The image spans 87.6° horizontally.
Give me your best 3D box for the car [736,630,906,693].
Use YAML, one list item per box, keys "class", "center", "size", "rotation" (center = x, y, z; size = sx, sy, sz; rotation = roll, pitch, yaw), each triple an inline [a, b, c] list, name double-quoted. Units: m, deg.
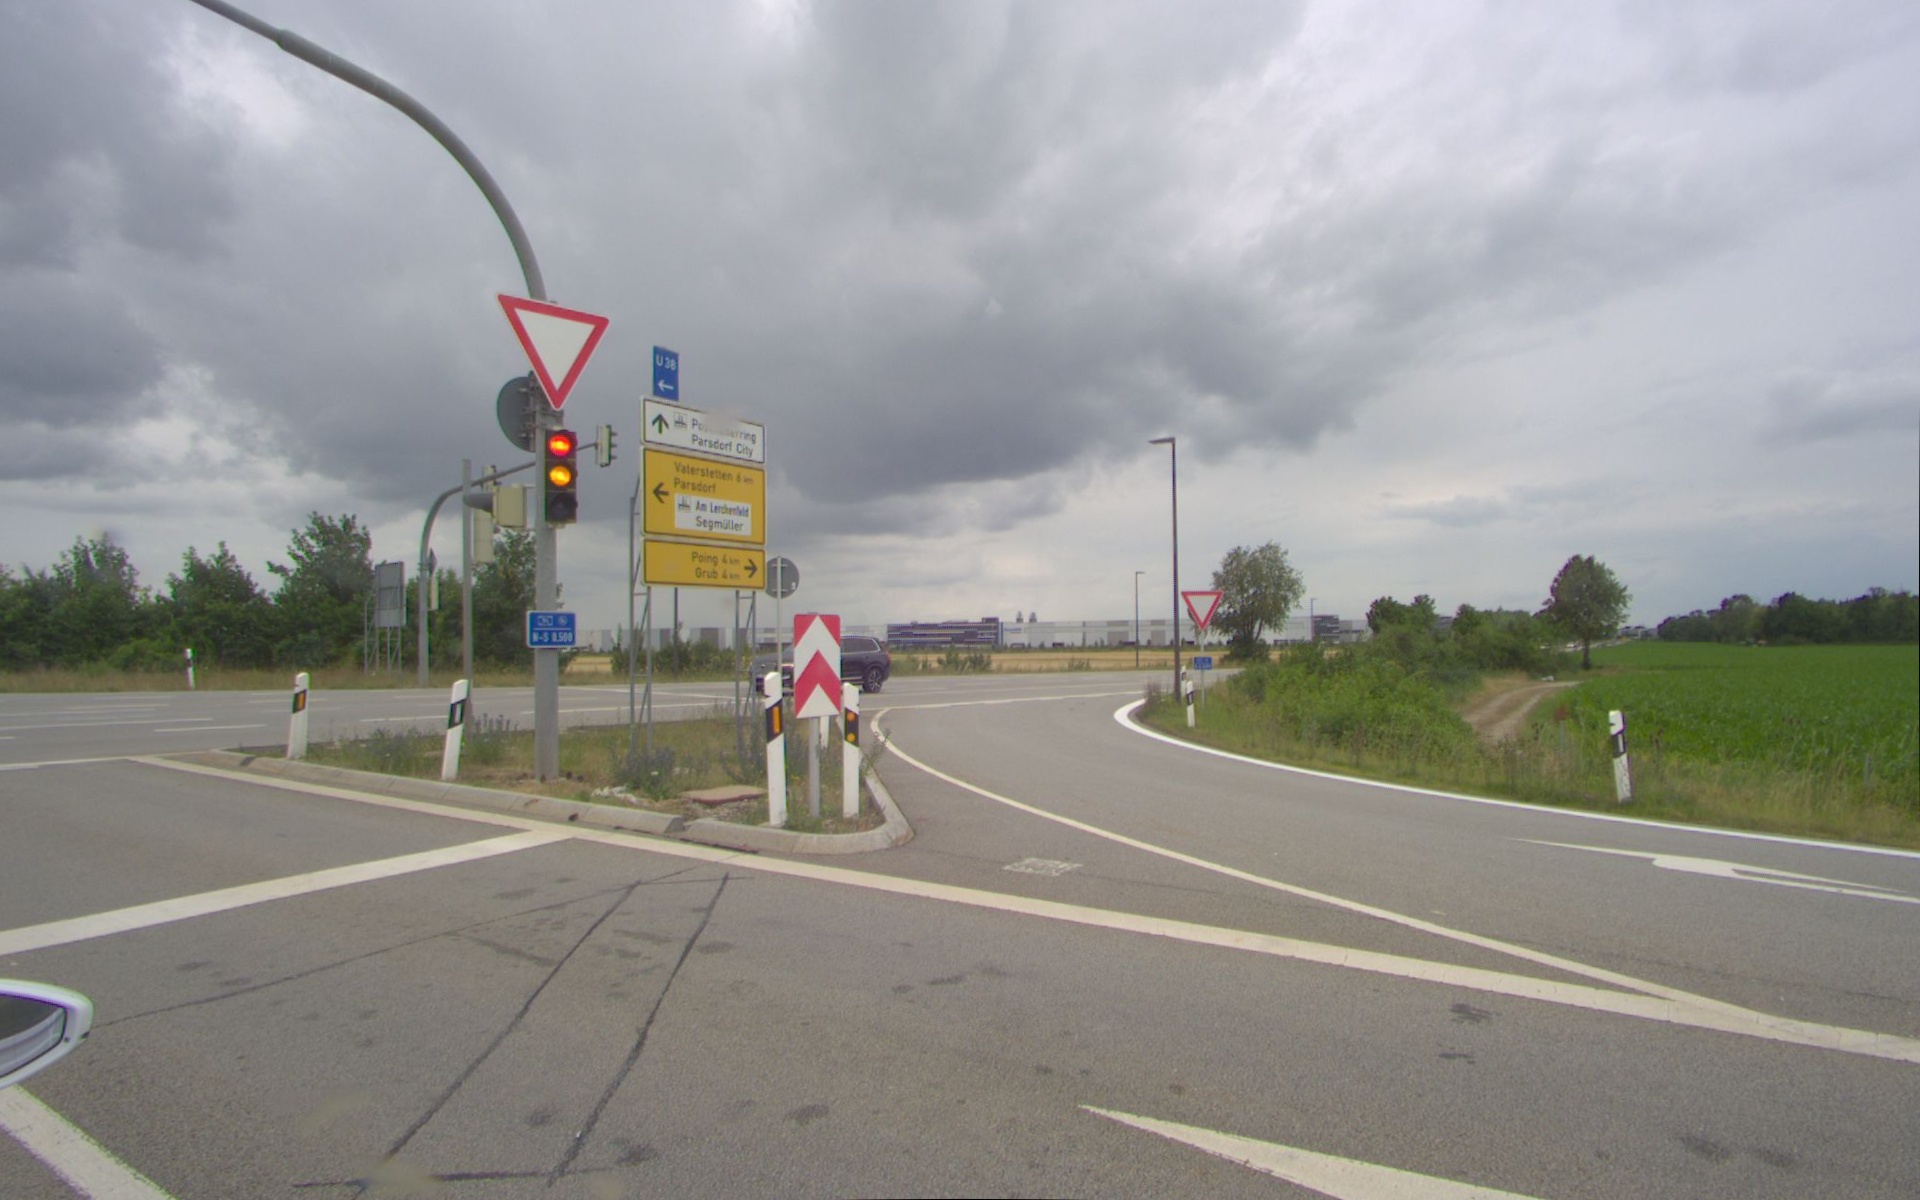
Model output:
- class: "car"
  center: [-4.021, 1.804, 29.800]
  size: [1.977, 1.705, 4.961]
  rotation: [-2, -3, 41]
